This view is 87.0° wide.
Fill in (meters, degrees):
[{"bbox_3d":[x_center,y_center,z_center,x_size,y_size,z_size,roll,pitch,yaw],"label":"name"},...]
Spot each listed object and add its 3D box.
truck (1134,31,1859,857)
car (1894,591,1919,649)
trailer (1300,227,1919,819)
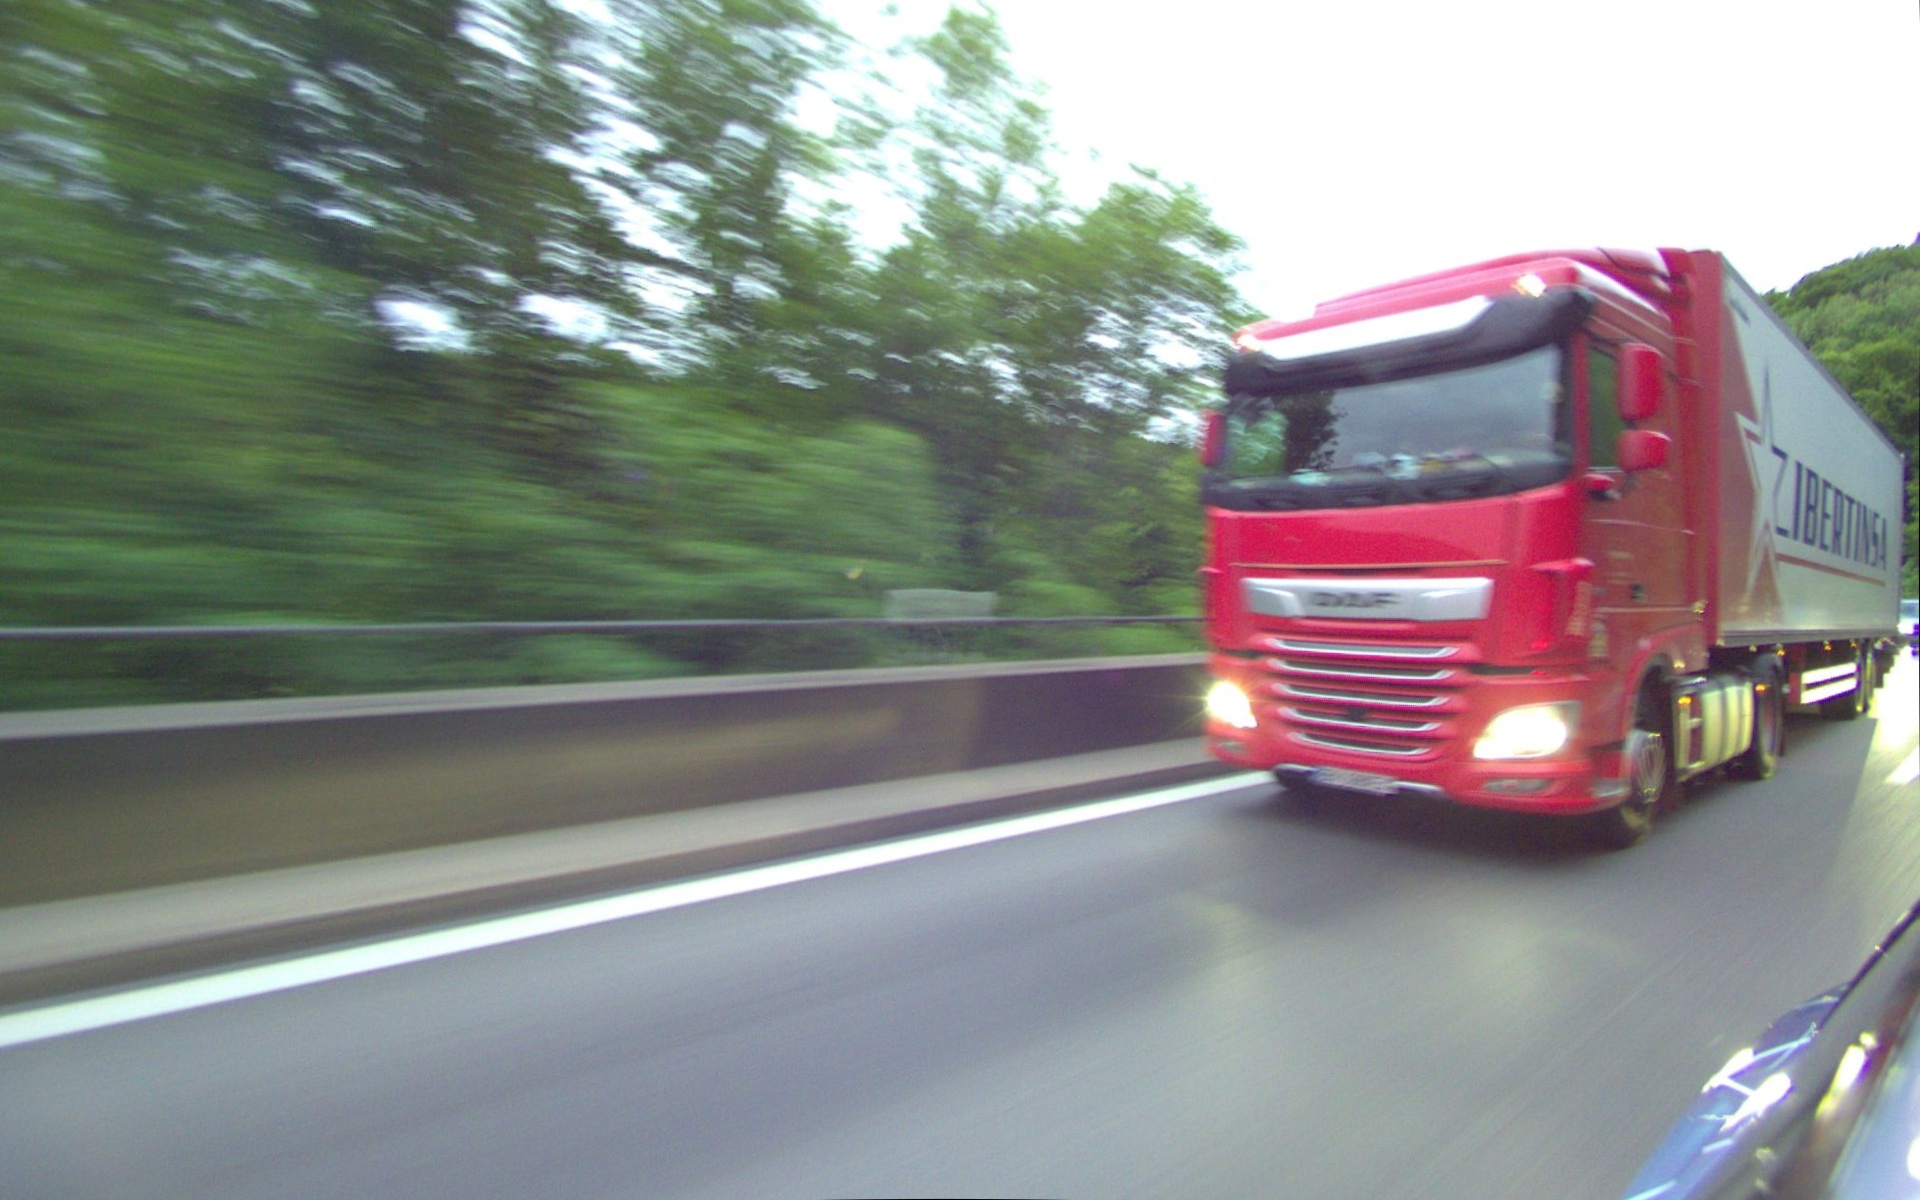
[{"bbox_3d":[4.777,-0.843,8.428,6.334,4.194,3.076,1,3,-42],"label":"truck"},{"bbox_3d":[29.708,0.597,30.565,1.992,1.660,3.941,2,2,40],"label":"car"},{"bbox_3d":[9.339,-0.564,12.726,13.974,4.021,3.101,-1,-1,-42],"label":"trailer"}]
